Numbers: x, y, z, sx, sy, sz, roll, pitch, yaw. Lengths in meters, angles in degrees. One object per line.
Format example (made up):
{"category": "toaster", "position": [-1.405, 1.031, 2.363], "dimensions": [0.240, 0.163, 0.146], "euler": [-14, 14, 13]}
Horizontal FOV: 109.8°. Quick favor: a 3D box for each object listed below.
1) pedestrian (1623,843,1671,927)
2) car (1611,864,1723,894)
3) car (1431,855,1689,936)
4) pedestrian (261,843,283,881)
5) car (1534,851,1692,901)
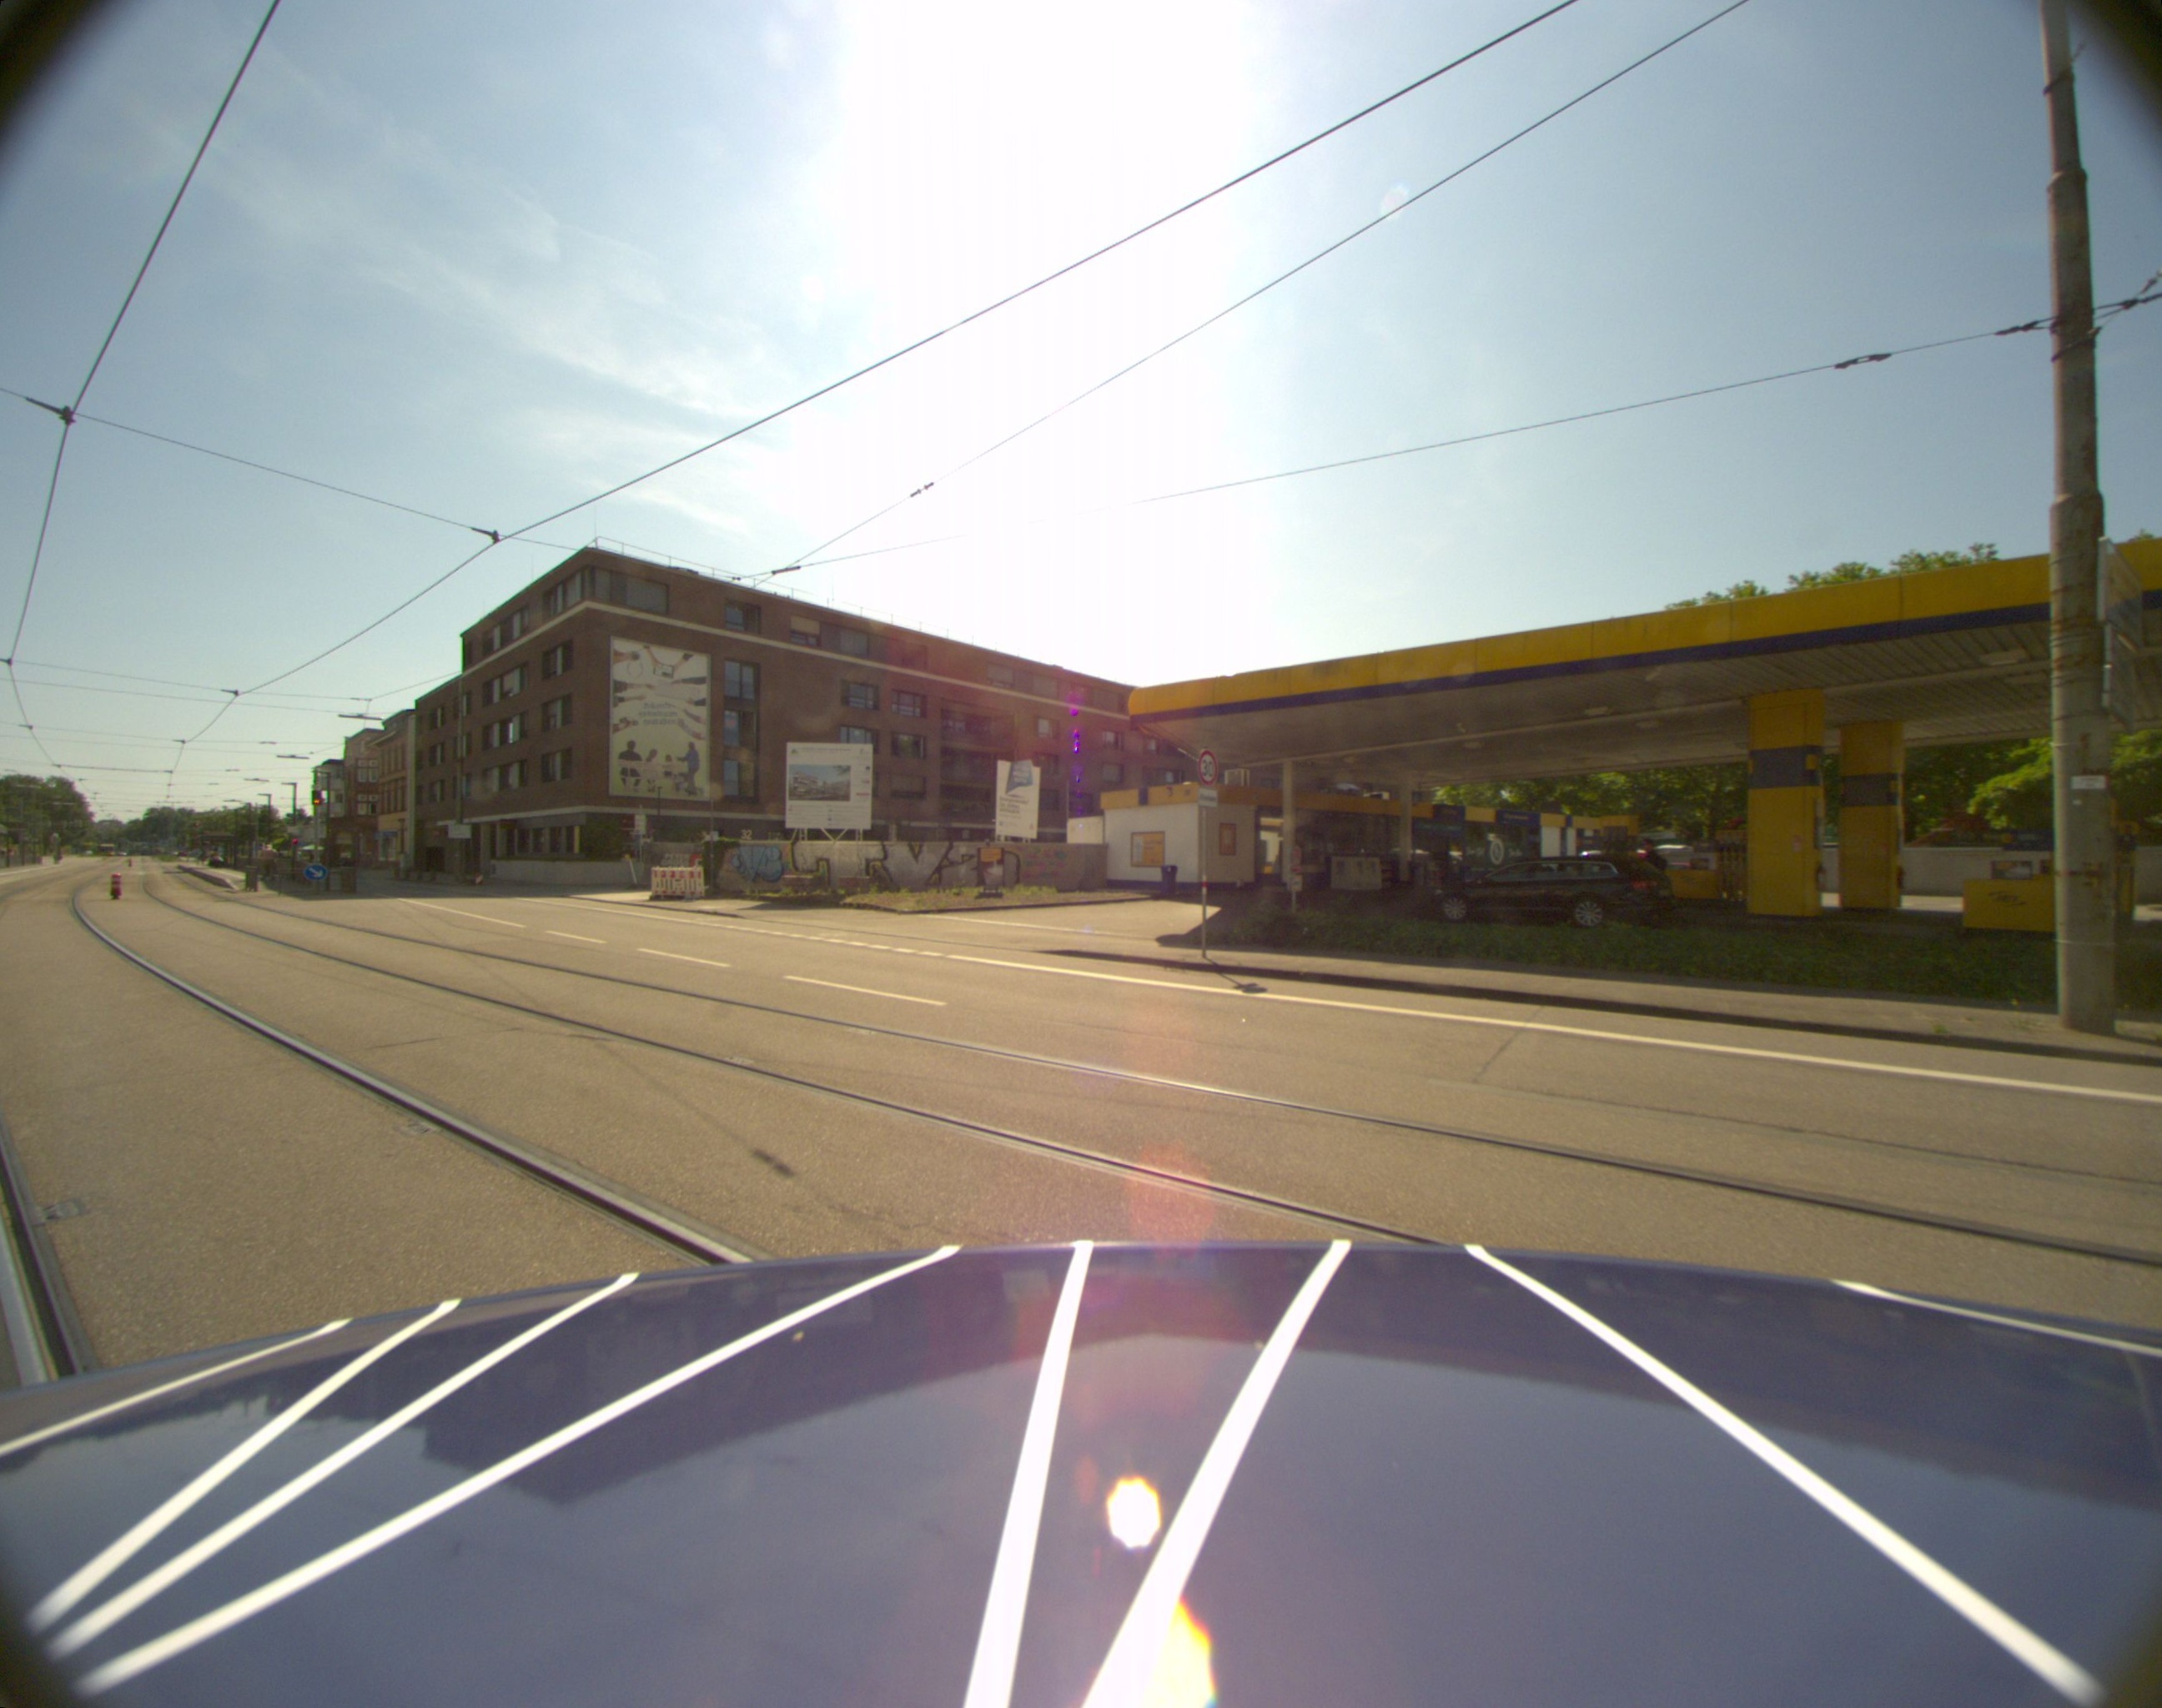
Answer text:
{"category": "pedestrian", "position": [11.928, 0.637, 16.040], "dimensions": [0.743, 1.715, 0.860], "euler": [1, 1, 34]}
{"category": "car", "position": [29.319, 1.189, 38.131], "dimensions": [1.765, 1.352, 4.121], "euler": [0, 0, -36]}
{"category": "car", "position": [10.233, 0.814, 16.591], "dimensions": [1.764, 1.447, 4.398], "euler": [-3, 1, -35]}
{"category": "pedestrian", "position": [-37.649, 0.358, 35.346], "dimensions": [0.791, 1.750, 0.559], "euler": [1, 1, 32]}
{"category": "car", "position": [22.788, 0.876, 32.771], "dimensions": [1.765, 1.971, 5.292], "euler": [0, 0, -38]}
